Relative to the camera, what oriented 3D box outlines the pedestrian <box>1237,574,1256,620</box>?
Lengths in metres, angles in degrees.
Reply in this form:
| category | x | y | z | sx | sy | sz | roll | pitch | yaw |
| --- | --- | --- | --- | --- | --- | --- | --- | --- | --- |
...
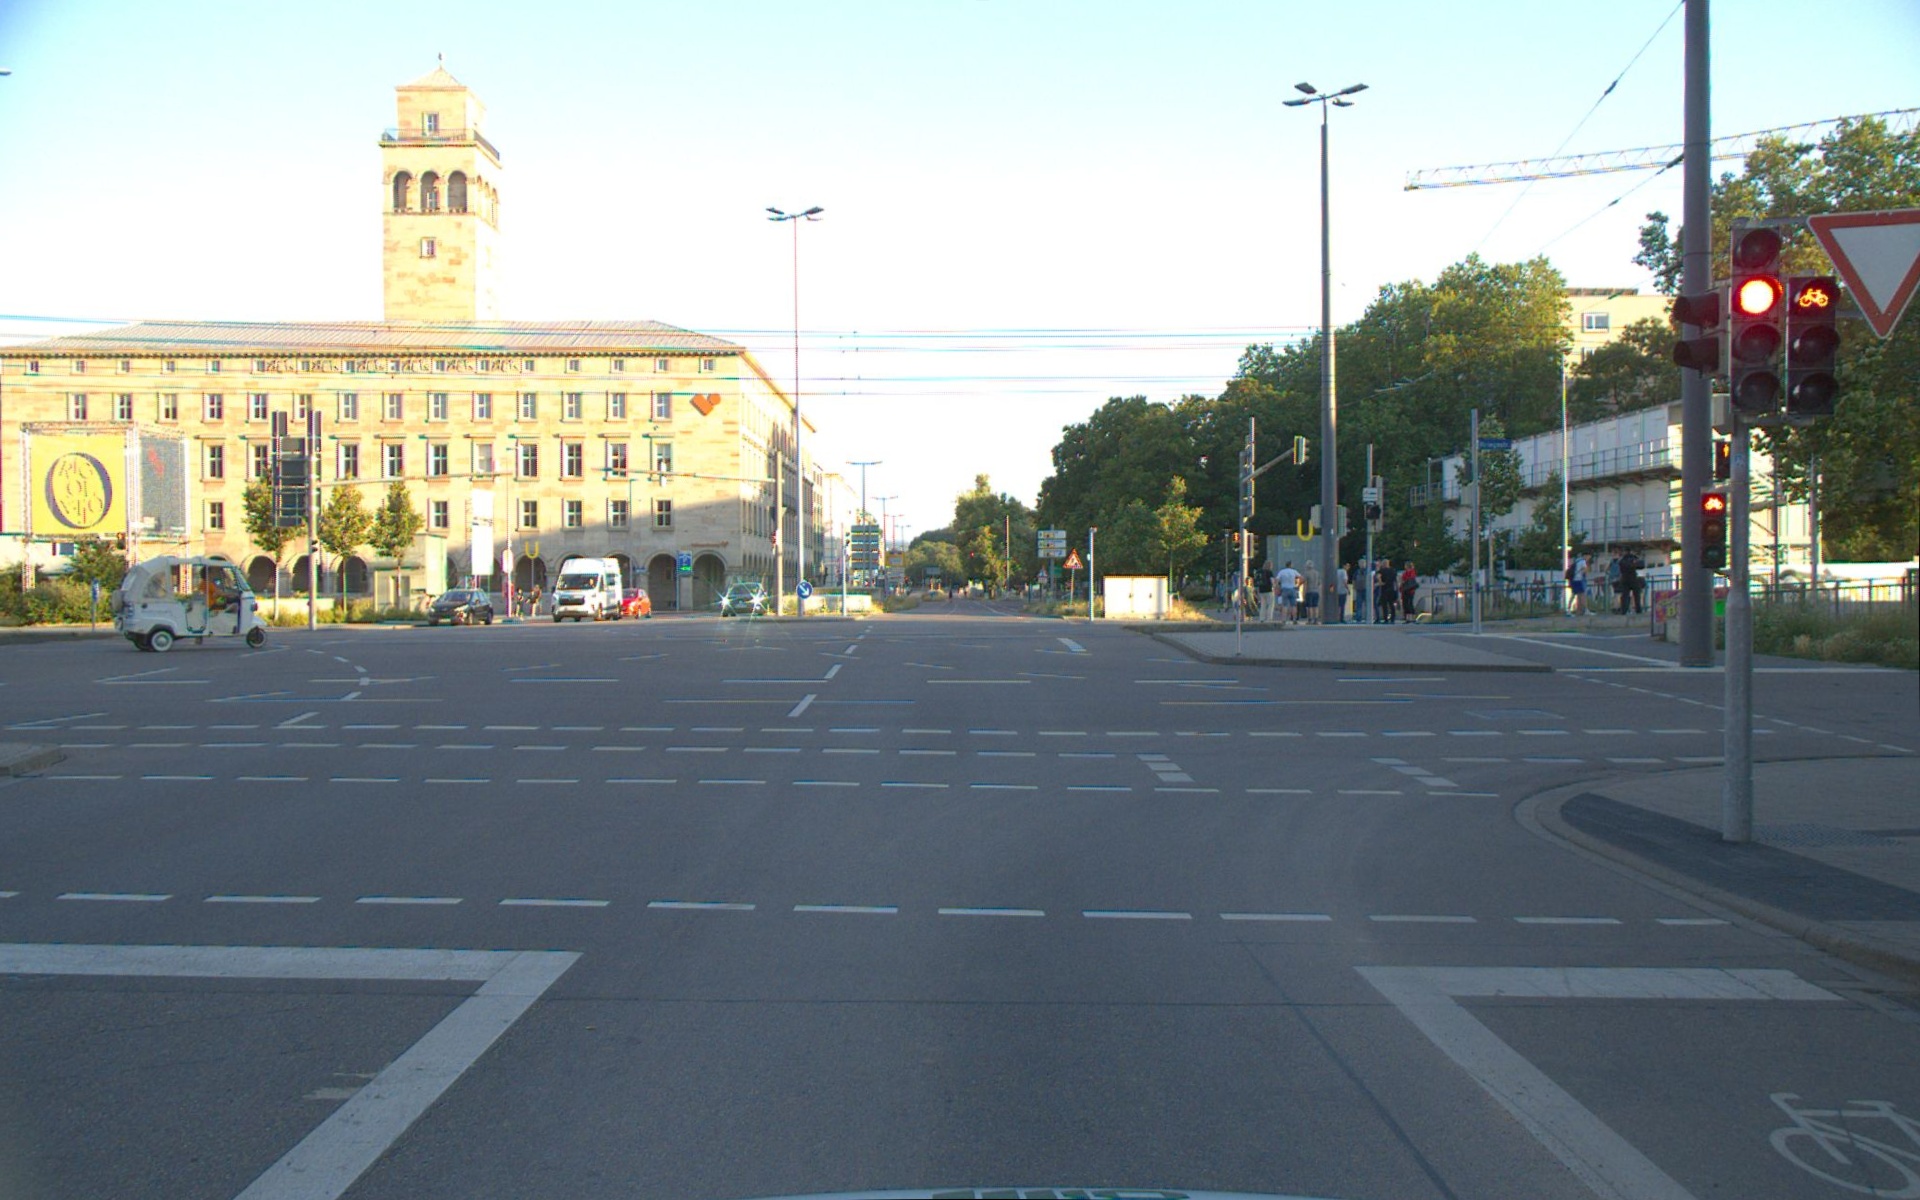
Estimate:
| category | x | y | z | sx | sy | sz | roll | pitch | yaw |
| --- | --- | --- | --- | --- | --- | --- | --- | --- | --- |
| pedestrian | 10.525 | -0.123 | 60.712 | 0.548 | 1.683 | 0.902 | 0 | 1 | 20 |

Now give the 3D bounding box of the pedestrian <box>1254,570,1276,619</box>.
| category | x | y | z | sx | sy | sz | roll | pitch | yaw |
| --- | --- | --- | --- | --- | --- | --- | --- | --- | --- |
| pedestrian | 11.201 | -0.203 | 60.702 | 0.665 | 1.788 | 0.902 | 0 | 1 | 20 |

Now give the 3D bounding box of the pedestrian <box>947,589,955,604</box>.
| category | x | y | z | sx | sy | sz | roll | pitch | yaw |
| --- | --- | --- | --- | --- | --- | --- | --- | --- | --- |
| pedestrian | -1.096 | -0.397 | 194.920 | 0.888 | 1.700 | 1.306 | -1 | 1 | -2 |

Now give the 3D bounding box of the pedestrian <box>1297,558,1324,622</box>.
| category | x | y | z | sx | sy | sz | roll | pitch | yaw |
| --- | --- | --- | --- | --- | --- | --- | --- | --- | --- |
| pedestrian | 9.735 | -0.272 | 45.936 | 0.695 | 1.755 | 0.669 | 0 | 1 | 13 |

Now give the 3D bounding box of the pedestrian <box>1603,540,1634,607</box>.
| category | x | y | z | sx | sy | sz | roll | pitch | yaw |
| --- | --- | --- | --- | --- | --- | --- | --- | --- | --- |
| pedestrian | 17.427 | -0.696 | 43.759 | 0.696 | 1.755 | 0.669 | 0 | 1 | 16 |

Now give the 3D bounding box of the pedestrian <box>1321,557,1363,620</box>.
| category | x | y | z | sx | sy | sz | roll | pitch | yaw |
| --- | --- | --- | --- | --- | --- | --- | --- | --- | --- |
| pedestrian | 10.780 | -0.341 | 46.691 | 0.899 | 1.755 | 0.708 | -1 | 1 | -23 |

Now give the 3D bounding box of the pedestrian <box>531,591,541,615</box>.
| category | x | y | z | sx | sy | sz | roll | pitch | yaw |
| --- | --- | --- | --- | --- | --- | --- | --- | --- | --- |
| pedestrian | -23.950 | 0.169 | 93.426 | 0.412 | 1.323 | 0.459 | 1 | -1 | -6 |

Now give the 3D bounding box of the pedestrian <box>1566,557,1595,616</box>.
| category | x | y | z | sx | sy | sz | roll | pitch | yaw |
| --- | --- | --- | --- | --- | --- | --- | --- | --- | --- |
| pedestrian | 16.948 | -0.369 | 45.182 | 0.559 | 1.620 | 0.536 | -1 | 0 | -1 |

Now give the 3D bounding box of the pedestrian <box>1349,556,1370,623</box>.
| category | x | y | z | sx | sy | sz | roll | pitch | yaw |
| --- | --- | --- | --- | --- | --- | --- | --- | --- | --- |
| pedestrian | 11.071 | -0.292 | 45.886 | 0.560 | 1.822 | 0.639 | 0 | 1 | 13 |

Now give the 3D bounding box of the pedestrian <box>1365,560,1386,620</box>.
| category | x | y | z | sx | sy | sz | roll | pitch | yaw |
| --- | --- | --- | --- | --- | --- | --- | --- | --- | --- |
| pedestrian | 11.888 | -0.285 | 47.309 | 0.560 | 1.708 | 0.639 | 0 | 1 | 13 |

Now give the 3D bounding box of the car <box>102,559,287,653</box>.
| category | x | y | z | sx | sy | sz | roll | pitch | yaw |
| --- | --- | --- | --- | --- | --- | --- | --- | --- | --- |
| car | -14.740 | 0.087 | 31.895 | 2.948 | 1.725 | 1.465 | -1 | 1 | -42 |

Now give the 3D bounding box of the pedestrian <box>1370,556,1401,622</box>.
| category | x | y | z | sx | sy | sz | roll | pitch | yaw |
| --- | --- | --- | --- | --- | --- | --- | --- | --- | --- |
| pedestrian | 11.784 | -0.310 | 45.837 | 0.788 | 1.822 | 0.801 | 0 | 1 | 13 |

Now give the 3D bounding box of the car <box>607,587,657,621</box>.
| category | x | y | z | sx | sy | sz | roll | pitch | yaw |
| --- | --- | --- | --- | --- | --- | --- | --- | --- | --- |
| car | -16.023 | 0.172 | 80.936 | 1.703 | 1.513 | 4.000 | -1 | 1 | -1 |

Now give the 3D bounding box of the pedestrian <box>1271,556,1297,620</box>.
| category | x | y | z | sx | sy | sz | roll | pitch | yaw |
| --- | --- | --- | --- | --- | --- | --- | --- | --- | --- |
| pedestrian | 9.043 | -0.342 | 46.170 | 0.695 | 1.755 | 0.669 | 0 | 1 | 9 |

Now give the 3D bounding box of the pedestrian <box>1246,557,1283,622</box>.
| category | x | y | z | sx | sy | sz | roll | pitch | yaw |
| --- | --- | --- | --- | --- | --- | --- | --- | --- | --- |
| pedestrian | 8.383 | -0.294 | 45.510 | 0.698 | 1.755 | 0.912 | 0 | 1 | 33 |

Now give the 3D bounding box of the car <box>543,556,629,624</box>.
| category | x | y | z | sx | sy | sz | roll | pitch | yaw |
| --- | --- | --- | --- | --- | --- | --- | --- | --- | --- |
| car | -16.245 | -0.473 | 72.234 | 2.232 | 2.824 | 6.085 | -1 | 1 | 1 |

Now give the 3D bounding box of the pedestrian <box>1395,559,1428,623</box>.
| category | x | y | z | sx | sy | sz | roll | pitch | yaw |
| --- | --- | --- | --- | --- | --- | --- | --- | --- | --- |
| pedestrian | 12.616 | -0.265 | 46.219 | 0.826 | 1.764 | 0.706 | 0 | 1 | 11 |

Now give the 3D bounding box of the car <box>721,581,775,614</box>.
| category | x | y | z | sx | sy | sz | roll | pitch | yaw |
| --- | --- | --- | --- | --- | --- | --- | --- | --- | --- |
| car | -9.255 | -0.135 | 72.489 | 1.785 | 1.365 | 4.001 | 0 | 1 | 1 |

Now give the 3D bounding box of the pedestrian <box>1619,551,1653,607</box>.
| category | x | y | z | sx | sy | sz | roll | pitch | yaw |
| --- | --- | --- | --- | --- | --- | --- | --- | --- | --- |
| pedestrian | 18.155 | -0.561 | 44.407 | 0.661 | 1.466 | 0.715 | -1 | 0 | 7 |

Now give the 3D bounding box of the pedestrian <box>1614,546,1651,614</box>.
| category | x | y | z | sx | sy | sz | roll | pitch | yaw |
| --- | --- | --- | --- | --- | --- | --- | --- | --- | --- |
| pedestrian | 17.386 | -0.519 | 42.746 | 0.653 | 1.755 | 0.713 | 0 | 1 | -2 |

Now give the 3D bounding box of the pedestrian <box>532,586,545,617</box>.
| category | x | y | z | sx | sy | sz | roll | pitch | yaw |
| --- | --- | --- | --- | --- | --- | --- | --- | --- | --- |
| pedestrian | -24.078 | 0.078 | 94.412 | 0.609 | 1.774 | 0.459 | 1 | -1 | -6 |

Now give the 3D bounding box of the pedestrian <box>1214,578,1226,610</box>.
| category | x | y | z | sx | sy | sz | roll | pitch | yaw |
| --- | --- | --- | --- | --- | --- | --- | --- | --- | --- |
| pedestrian | 14.548 | -0.344 | 92.680 | 0.628 | 1.791 | 0.525 | 0 | 1 | 7 |

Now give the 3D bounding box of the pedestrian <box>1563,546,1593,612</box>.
| category | x | y | z | sx | sy | sz | roll | pitch | yaw |
| --- | --- | --- | --- | --- | --- | --- | --- | --- | --- |
| pedestrian | 16.631 | -0.556 | 44.513 | 0.652 | 1.755 | 0.714 | 0 | 1 | 11 |

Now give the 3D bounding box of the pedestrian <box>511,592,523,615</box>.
| category | x | y | z | sx | sy | sz | roll | pitch | yaw |
| --- | --- | --- | --- | --- | --- | --- | --- | --- | --- |
| pedestrian | -25.024 | 0.197 | 93.416 | 0.496 | 1.323 | 0.700 | 1 | -1 | -6 |

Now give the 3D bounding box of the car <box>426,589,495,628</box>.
| category | x | y | z | sx | sy | sz | roll | pitch | yaw |
| --- | --- | --- | --- | --- | --- | --- | --- | --- | --- |
| car | -21.094 | 0.338 | 69.958 | 1.786 | 1.491 | 4.156 | -1 | 1 | -2 |
